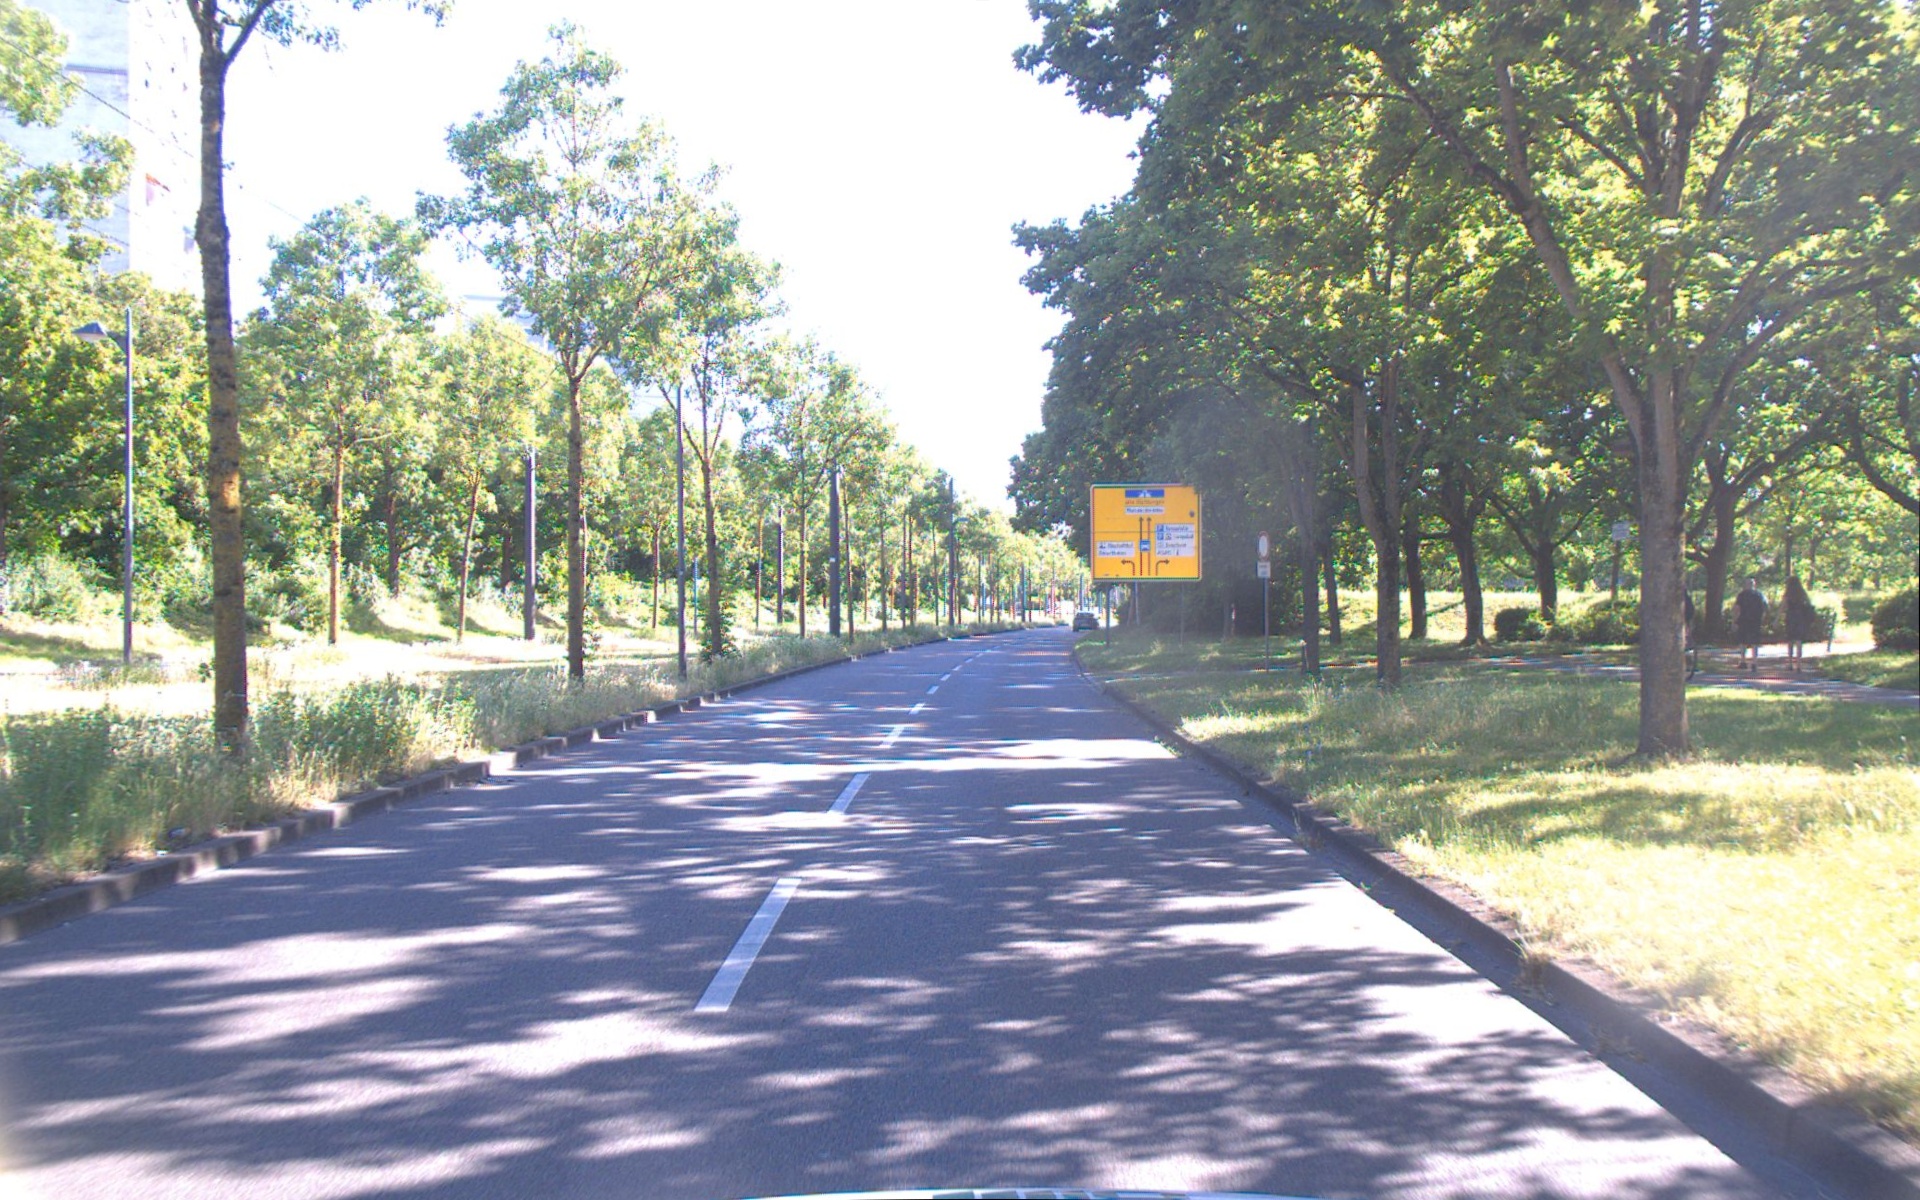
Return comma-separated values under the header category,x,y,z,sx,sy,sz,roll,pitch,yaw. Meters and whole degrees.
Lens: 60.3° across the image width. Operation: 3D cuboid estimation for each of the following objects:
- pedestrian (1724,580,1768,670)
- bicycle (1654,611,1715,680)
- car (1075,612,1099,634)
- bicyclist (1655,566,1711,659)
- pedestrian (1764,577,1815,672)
category,x,y,z,sx,sy,sz,roll,pitch,yaw
pedestrian,14.705,0.469,30.948,0.535,1.650,0.844,-1,-1,12
bicycle,11.740,0.723,26.857,0.778,1.065,2.143,-1,-1,21
car,9.196,1.625,119.439,1.599,1.524,4.237,0,0,5
bicyclist,11.725,0.198,26.840,0.773,1.476,0.845,-1,-1,21
pedestrian,15.277,0.449,30.483,0.622,1.721,0.844,-1,-1,12
